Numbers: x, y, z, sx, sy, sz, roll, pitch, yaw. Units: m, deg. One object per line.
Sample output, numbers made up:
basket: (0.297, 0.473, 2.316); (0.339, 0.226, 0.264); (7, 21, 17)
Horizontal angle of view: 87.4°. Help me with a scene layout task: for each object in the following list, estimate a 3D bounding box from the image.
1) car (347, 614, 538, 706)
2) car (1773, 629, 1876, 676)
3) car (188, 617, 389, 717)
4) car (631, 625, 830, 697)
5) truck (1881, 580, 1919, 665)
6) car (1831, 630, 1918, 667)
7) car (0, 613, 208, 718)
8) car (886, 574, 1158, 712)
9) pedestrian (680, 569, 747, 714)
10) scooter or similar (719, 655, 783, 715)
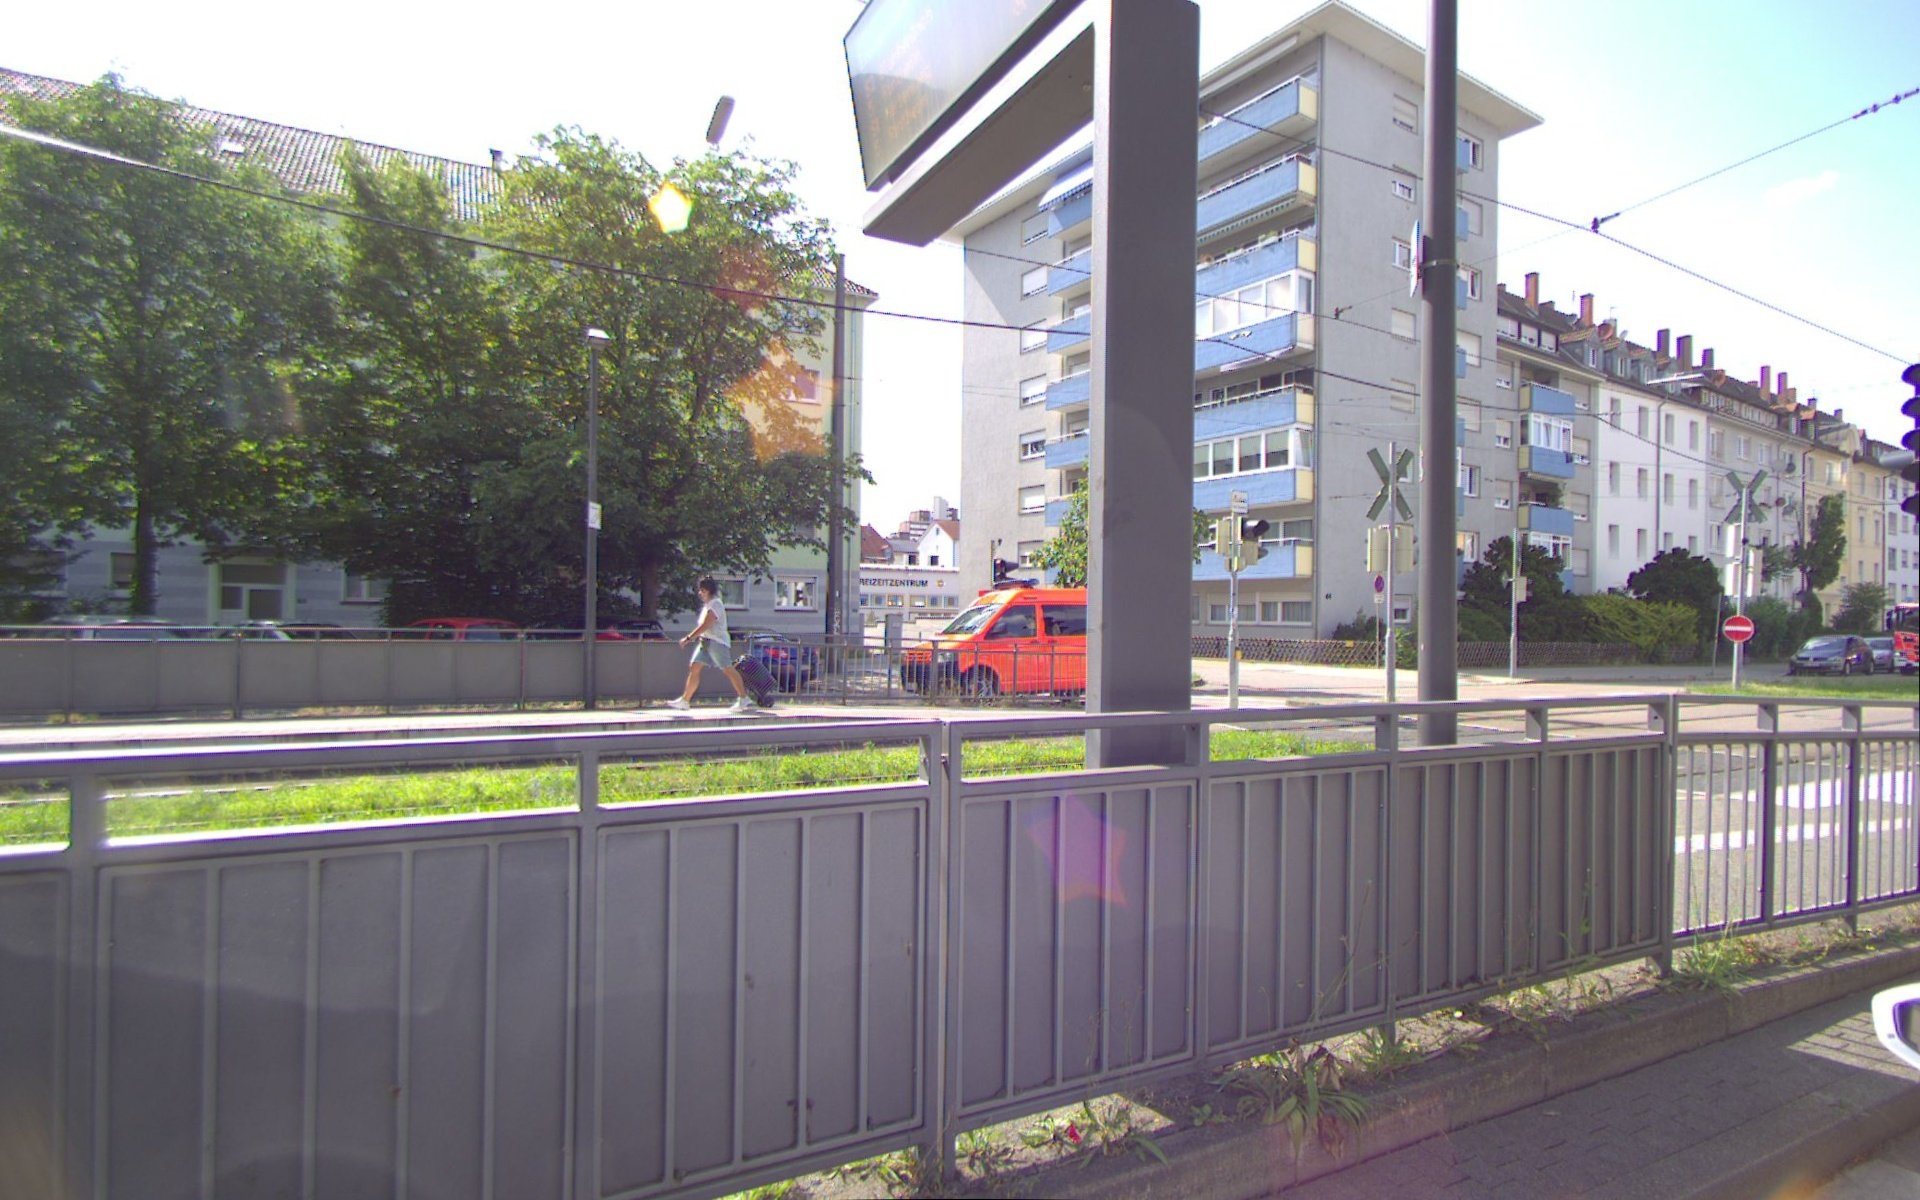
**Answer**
car: (-9.983, 1.086, 19.326); (3.603, 1.600, 1.645); (0, -1, 32)
car: (34.274, 2.060, 39.790); (3.956, 1.667, 1.982); (2, 0, -32)
car: (-12.059, 1.120, 18.003); (3.603, 1.600, 1.645); (0, -1, 32)
car: (-4.987, 1.274, 21.812); (4.055, 1.413, 1.608); (0, -1, 24)
truck: (40.324, 0.996, 40.519); (8.291, 3.228, 2.581); (2, 0, -33)
car: (39.239, 2.069, 43.092); (3.956, 1.461, 1.758); (2, 0, -32)
car: (-14.205, 0.999, 16.559); (3.959, 1.534, 1.605); (0, -1, 33)
car: (1.185, 0.817, 18.750); (4.774, 2.305, 1.986); (1, -3, -29)
pedestrian: (-2.987, 0.494, 12.165); (0.624, 1.686, 0.657); (1, -1, -29)
scooter or similar: (-2.626, 1.058, 12.616); (0.692, 0.708, 0.440); (1, -1, -29)
